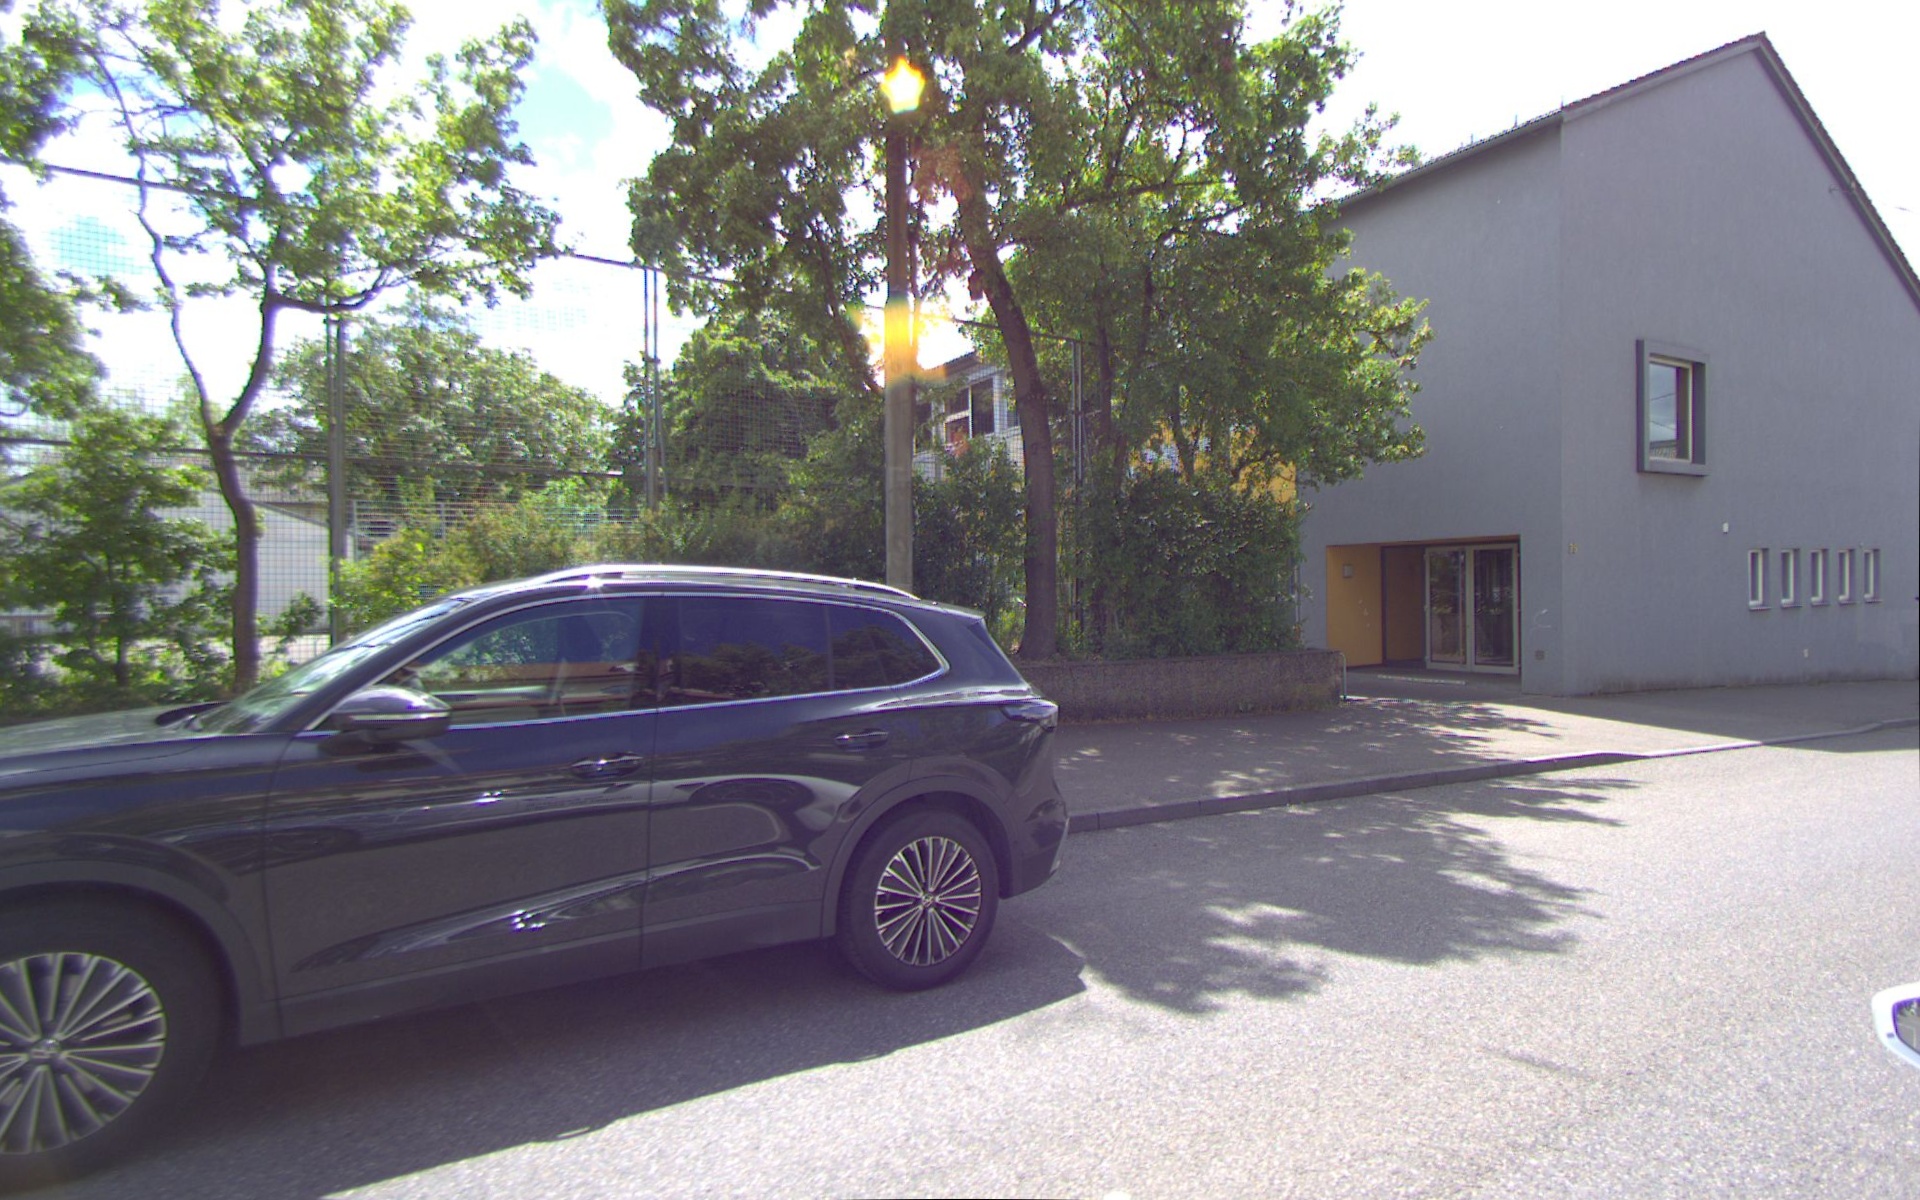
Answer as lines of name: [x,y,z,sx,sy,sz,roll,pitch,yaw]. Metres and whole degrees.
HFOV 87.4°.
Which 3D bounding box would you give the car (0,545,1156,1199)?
car: [-1.520,0.687,3.967,4.596,1.632,1.785,0,0,-33]
